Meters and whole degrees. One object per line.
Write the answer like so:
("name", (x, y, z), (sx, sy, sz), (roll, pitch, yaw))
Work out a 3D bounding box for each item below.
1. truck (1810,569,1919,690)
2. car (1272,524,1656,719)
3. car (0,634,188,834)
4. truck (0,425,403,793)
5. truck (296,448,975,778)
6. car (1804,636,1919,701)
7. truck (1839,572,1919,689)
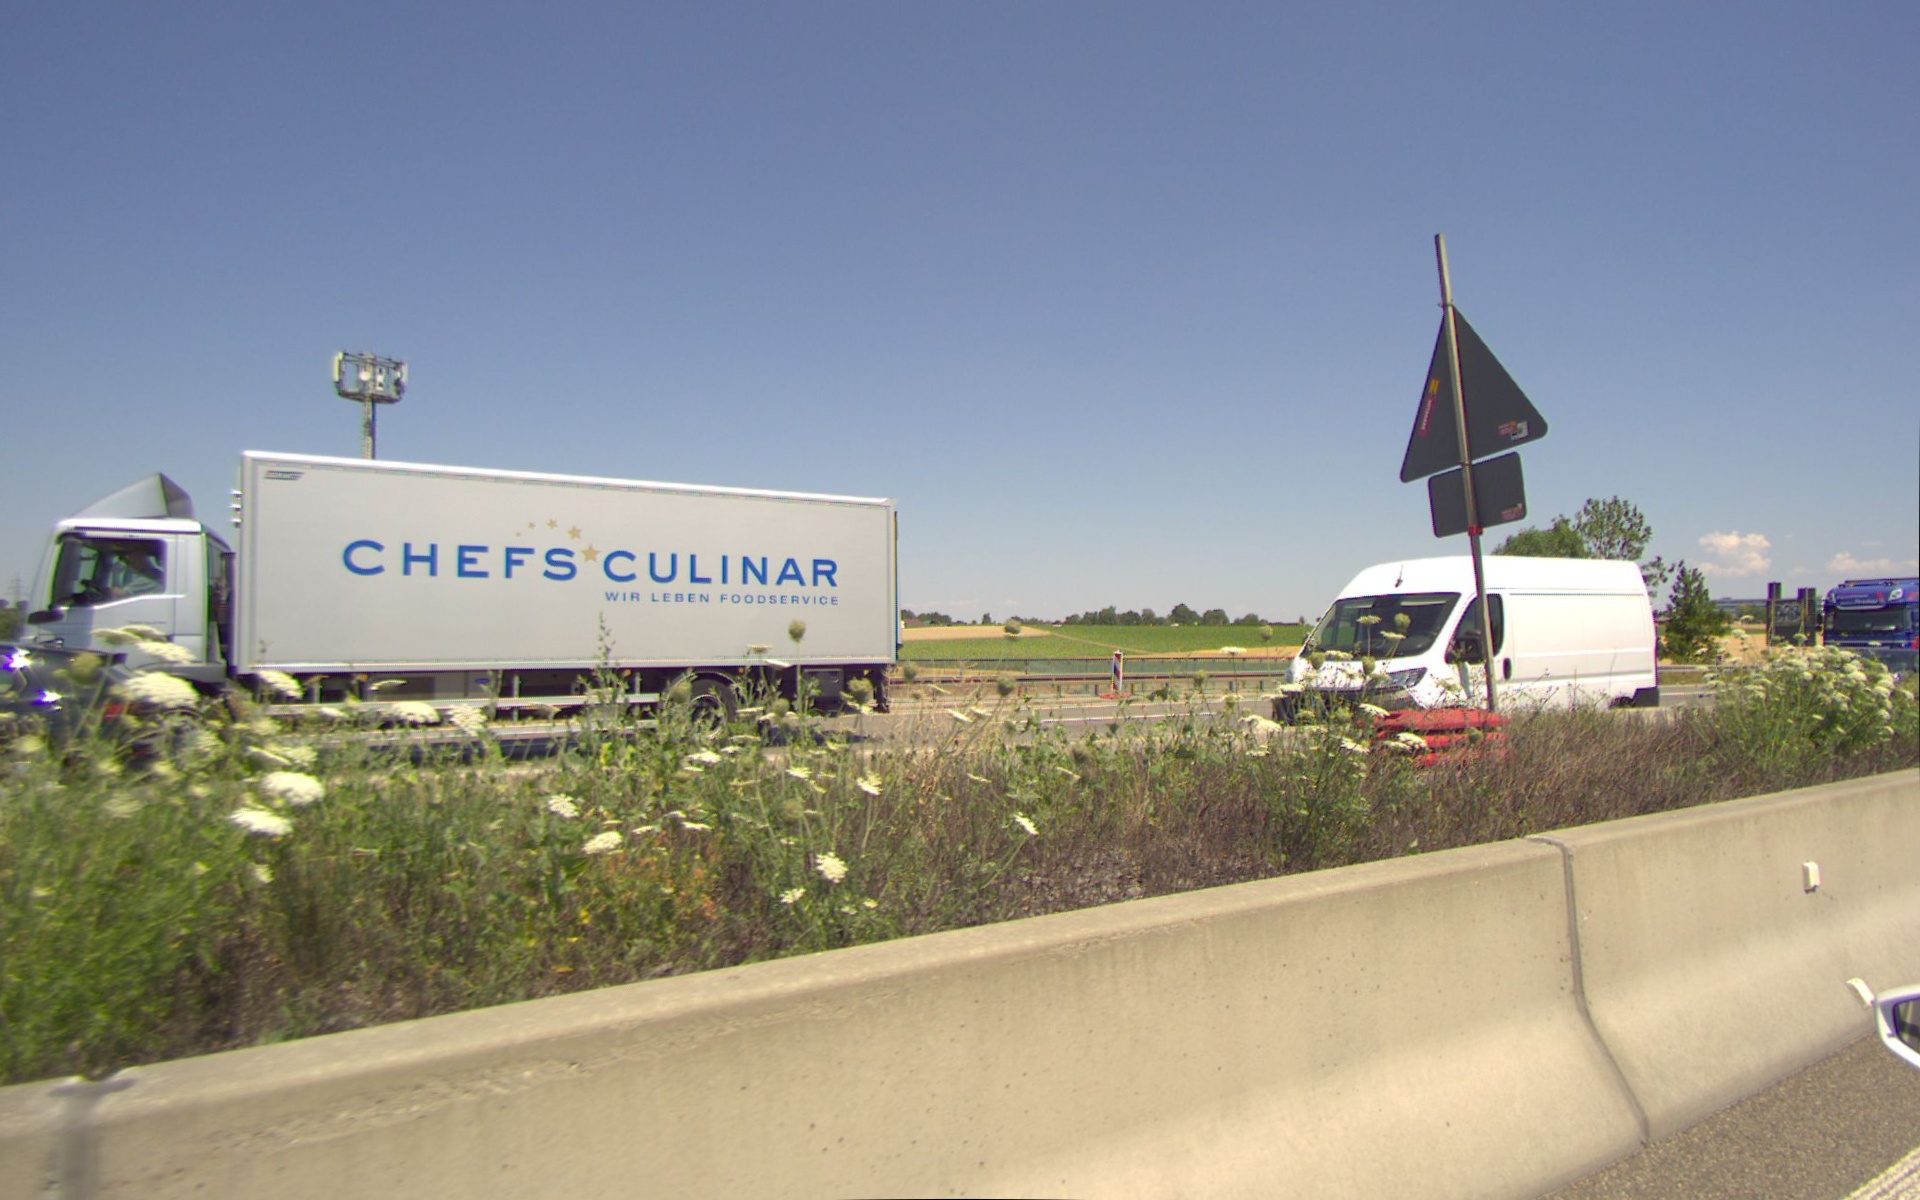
("truck", (34.689, 1.185, 37.771), (4.798, 4.293, 2.581), (2, -4, -30))
("car", (6.223, 0.308, 12.264), (4.740, 1.971, 1.984), (2, -2, -31))
("car", (-8.349, 0.988, 7.580), (3.793, 1.461, 1.551), (2, -2, -31))
("truck", (-8.868, 0.177, 11.820), (3.952, 3.634, 2.687), (1, -3, -29))
("truck", (-4.191, 0.291, 14.478), (8.680, 3.667, 2.688), (1, -3, -29))
("car", (25.505, 1.858, 27.952), (4.049, 1.676, 1.879), (2, -2, -31))
("truck", (41.007, 1.378, 41.560), (13.959, 4.293, 2.581), (2, -4, -31))
